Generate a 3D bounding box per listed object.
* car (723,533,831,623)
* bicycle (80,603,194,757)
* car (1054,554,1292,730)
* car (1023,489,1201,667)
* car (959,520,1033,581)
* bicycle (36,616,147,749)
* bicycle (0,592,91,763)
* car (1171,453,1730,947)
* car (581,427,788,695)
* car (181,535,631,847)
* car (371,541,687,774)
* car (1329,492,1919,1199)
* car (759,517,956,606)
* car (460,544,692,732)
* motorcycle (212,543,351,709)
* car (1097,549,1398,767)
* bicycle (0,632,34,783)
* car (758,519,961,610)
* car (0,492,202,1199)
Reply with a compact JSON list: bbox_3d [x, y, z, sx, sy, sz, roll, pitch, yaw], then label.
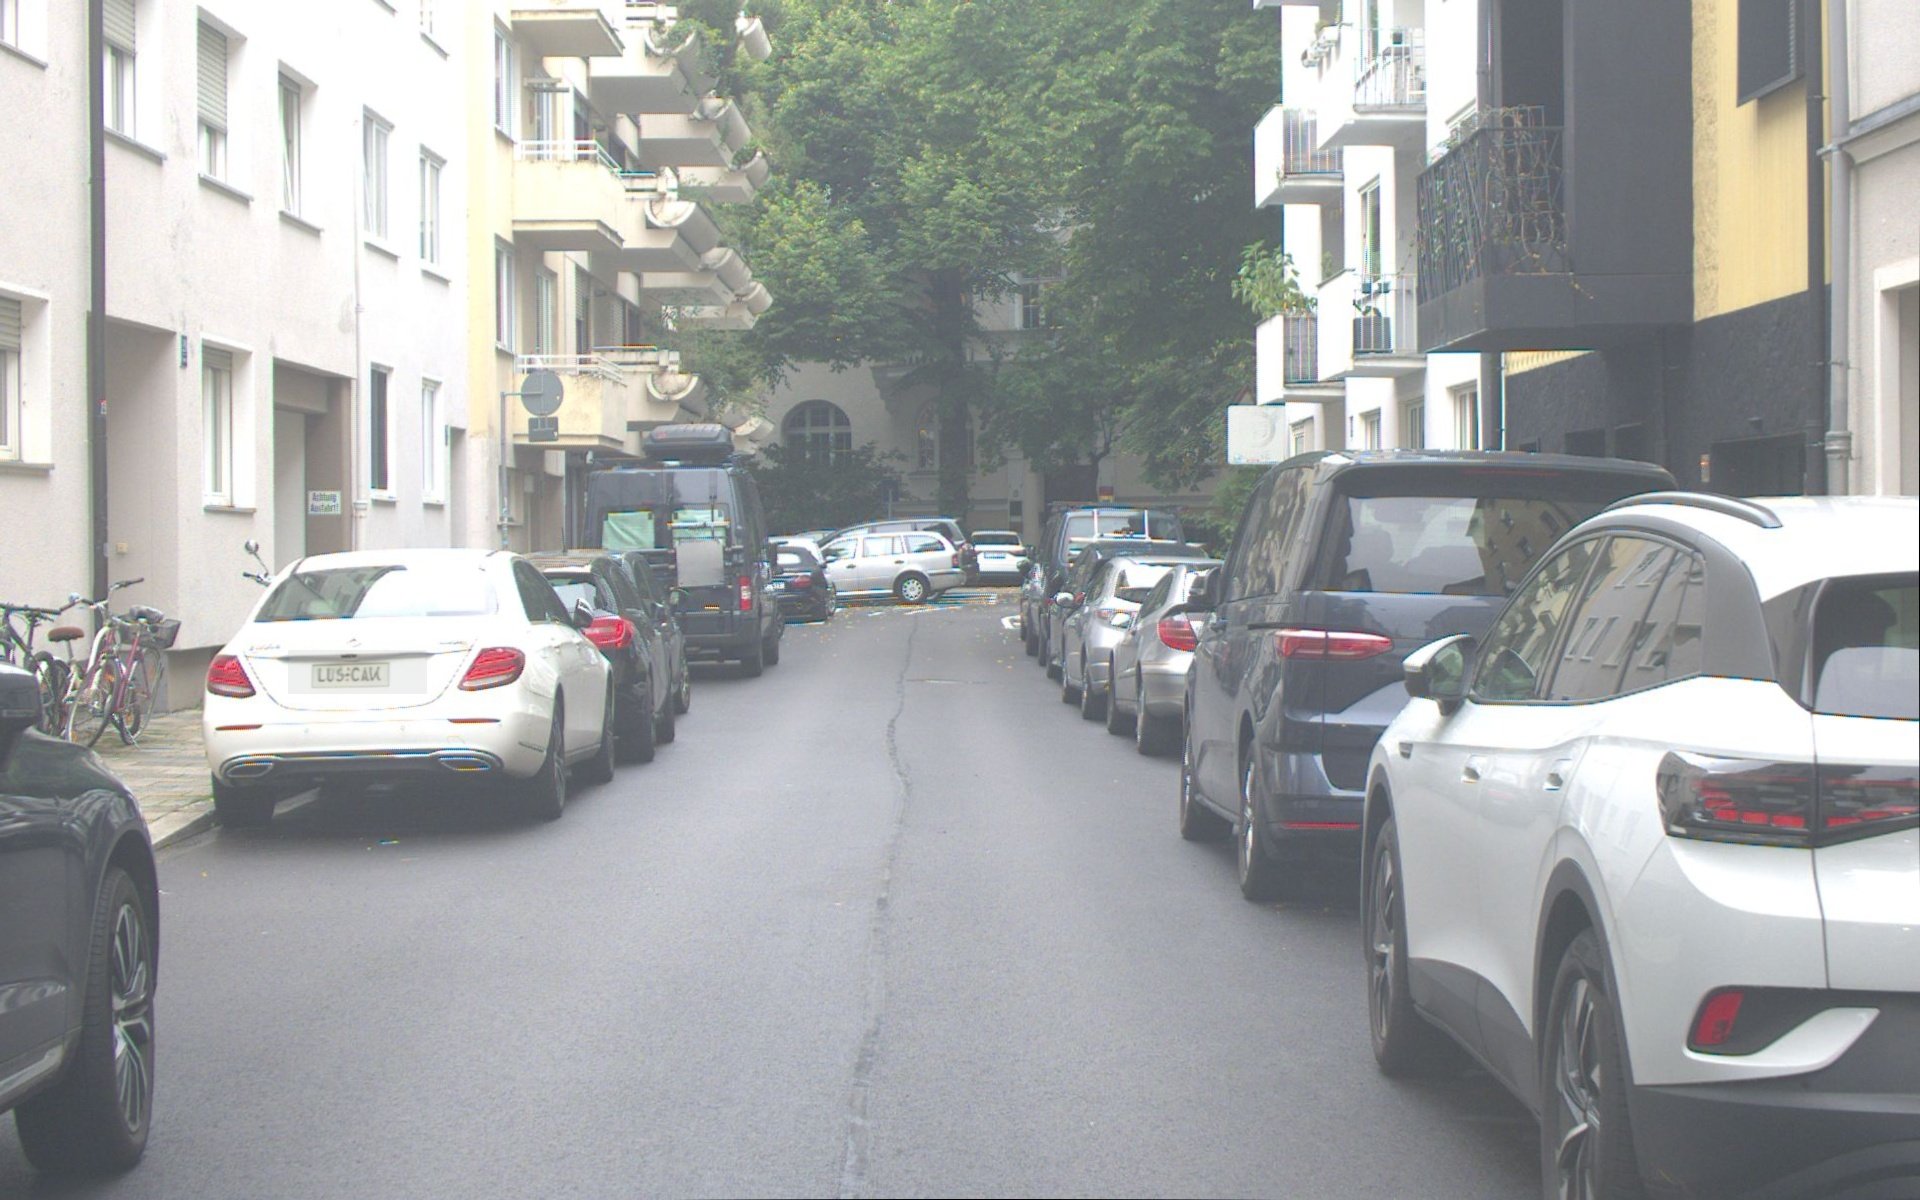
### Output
[{"bbox_3d":[-3.061,-0.397,58.053,1.642,1.379,3.483,-3,1,-1],"label":"car"},{"bbox_3d":[-5.661,0.534,23.702,0.396,0.978,1.656,1,1,-1],"label":"bicycle"},{"bbox_3d":[1.942,0.344,32.564,1.829,1.449,4.416,3,1,-1],"label":"car"},{"bbox_3d":[1.811,-0.301,42.234,1.829,1.992,4.416,3,1,-1],"label":"car"},{"bbox_3d":[0.877,-1.240,84.997,1.642,1.379,3.746,-3,1,-1],"label":"car"},{"bbox_3d":[-6.179,0.572,24.520,0.396,0.866,1.614,1,1,-1],"label":"bicycle"},{"bbox_3d":[-6.152,0.488,22.686,0.396,1.047,1.760,1,1,-1],"label":"bicycle"},{"bbox_3d":[2.064,0.345,15.728,1.829,1.903,4.416,1,1,-1],"label":"car"},{"bbox_3d":[-3.086,-0.463,39.366,1.936,2.792,4.533,-3,1,-1],"label":"car"},{"bbox_3d":[-3.019,0.419,19.671,1.777,1.482,4.519,-3,1,0],"label":"car"},{"bbox_3d":[-3.028,0.346,24.903,1.776,1.448,4.046,-3,1,-1],"label":"car"},{"bbox_3d":[2.005,0.577,8.088,1.682,1.562,4.416,2,1,-1],"label":"car"},{"bbox_3d":[-2.079,-0.792,69.933,3.885,1.579,1.648,-3,1,-2],"label":"car"},{"bbox_3d":[-3.274,0.285,29.833,1.642,1.448,3.162,-3,1,-1],"label":"car"},{"bbox_3d":[-5.796,0.193,29.489,0.680,1.345,2.486,0,1,1],"label":"motorcycle"},{"bbox_3d":[2.135,0.381,26.700,1.829,1.449,4.416,3,1,-1],"label":"car"},{"bbox_3d":[-5.842,0.650,19.924,0.396,0.866,2.133,1,1,-1],"label":"bicycle"},{"bbox_3d":[-1.978,-0.704,67.982,3.885,1.579,1.648,-3,1,-2],"label":"car"},{"bbox_3d":[-2.796,0.625,6.522,1.776,1.623,4.415,-1,1,-1],"label":"car"}]
